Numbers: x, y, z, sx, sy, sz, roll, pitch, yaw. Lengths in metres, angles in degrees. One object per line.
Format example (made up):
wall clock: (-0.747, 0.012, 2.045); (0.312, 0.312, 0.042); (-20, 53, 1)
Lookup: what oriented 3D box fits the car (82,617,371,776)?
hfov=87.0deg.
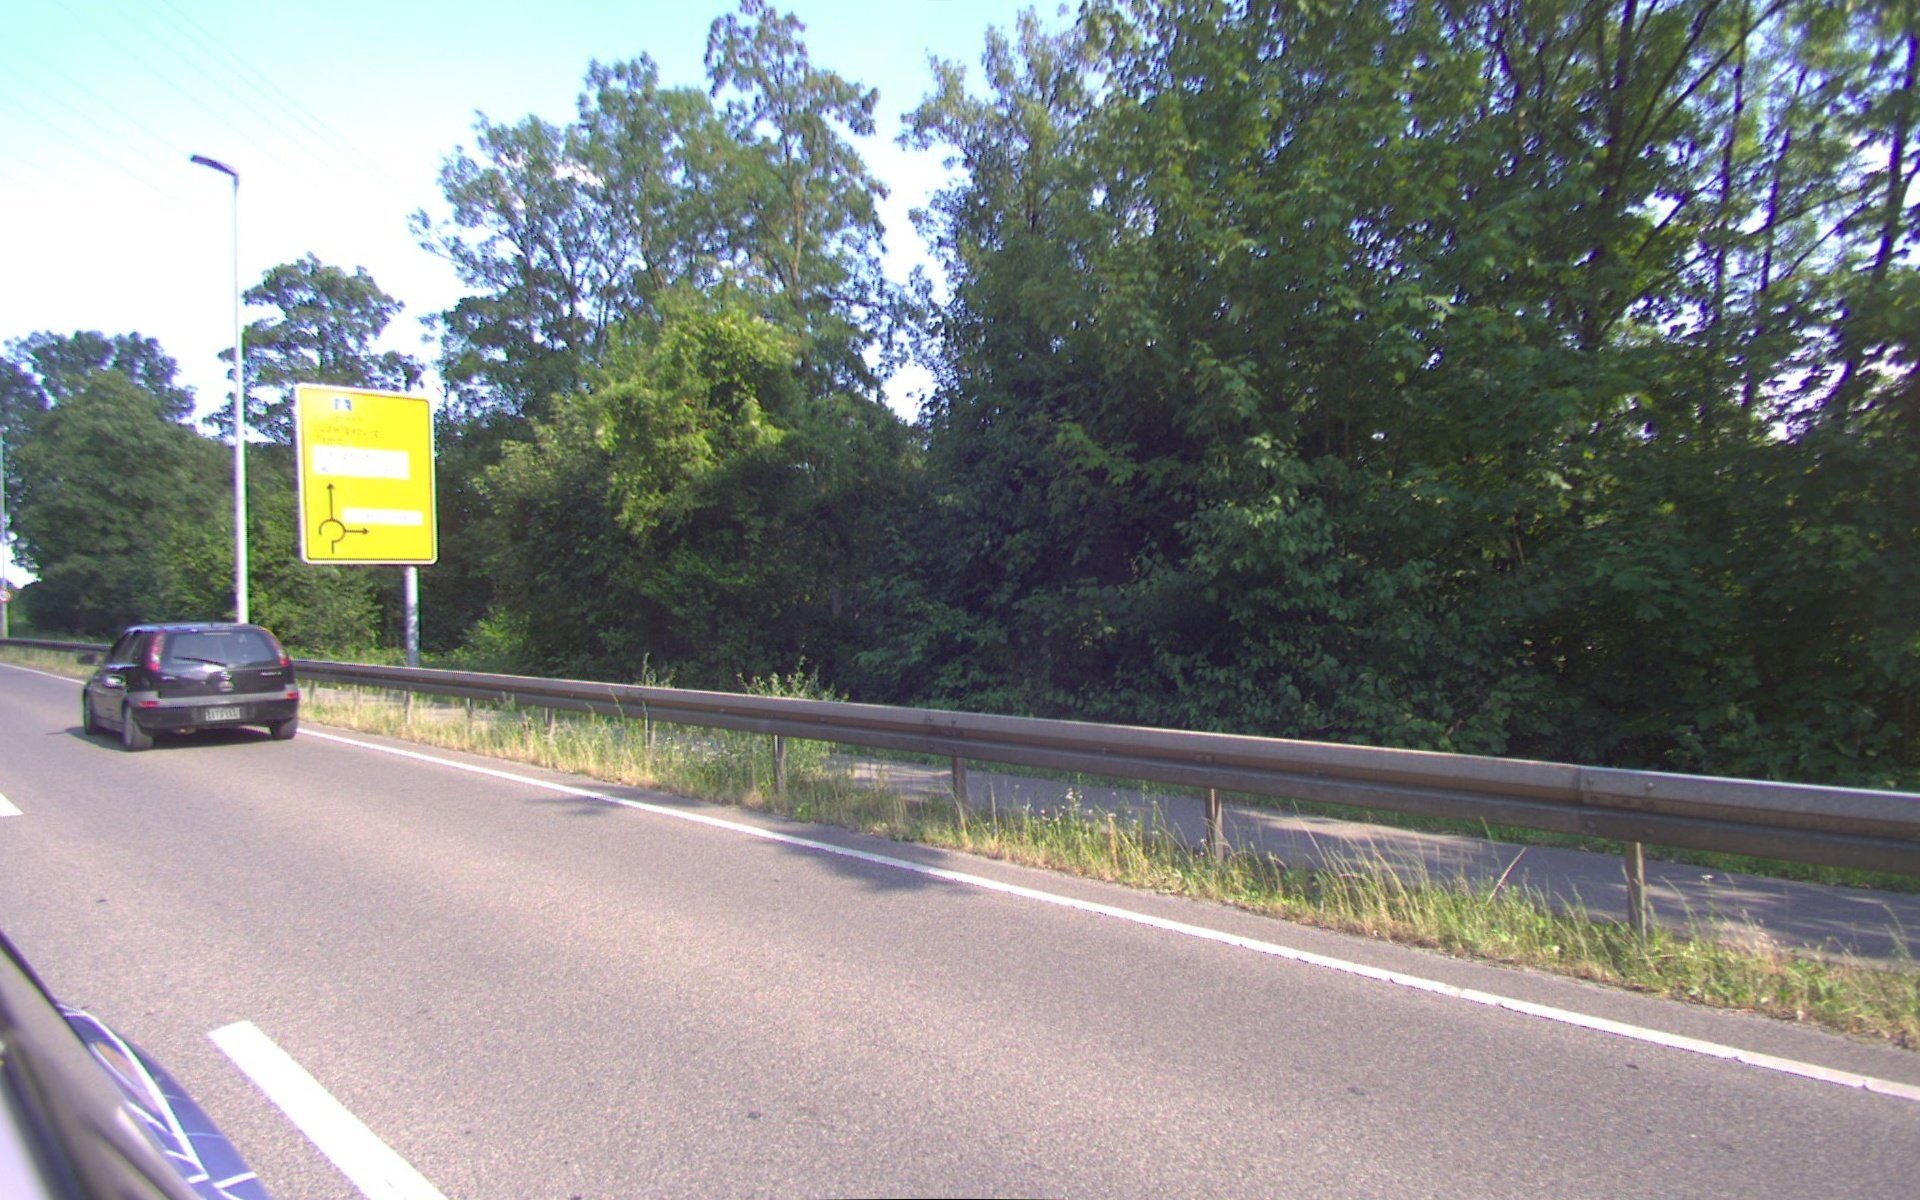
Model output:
car: (-8.205, 0.924, 11.201); (3.996, 1.453, 1.665); (-1, -1, 40)
